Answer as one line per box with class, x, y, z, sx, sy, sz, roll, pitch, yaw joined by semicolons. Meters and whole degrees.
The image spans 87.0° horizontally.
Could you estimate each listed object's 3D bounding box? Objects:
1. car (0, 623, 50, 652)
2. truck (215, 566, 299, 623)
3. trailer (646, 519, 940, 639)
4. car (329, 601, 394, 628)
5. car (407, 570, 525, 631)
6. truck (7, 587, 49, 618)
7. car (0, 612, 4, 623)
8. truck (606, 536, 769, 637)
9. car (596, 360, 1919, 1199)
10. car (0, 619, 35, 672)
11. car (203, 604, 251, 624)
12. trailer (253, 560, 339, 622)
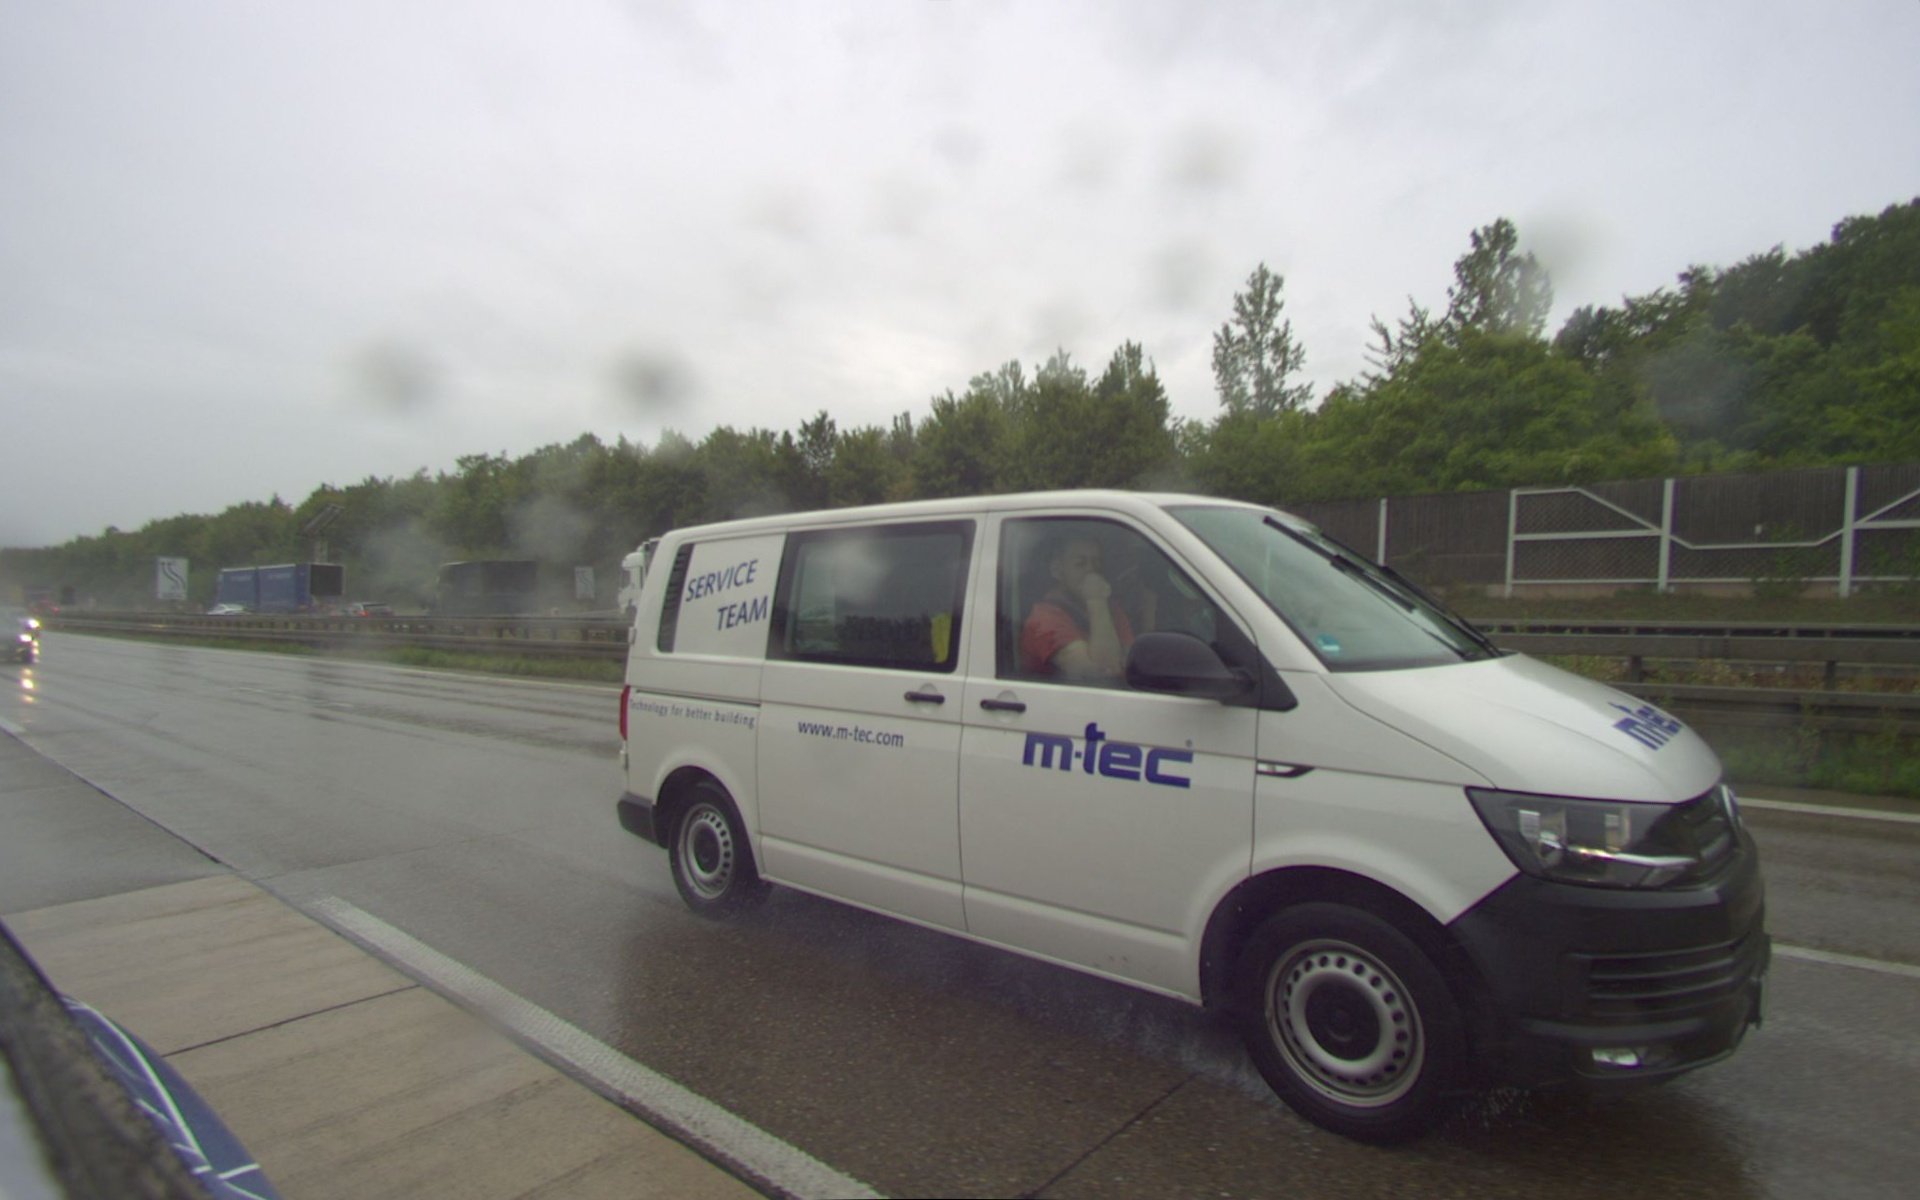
car;-47.796;1.875;51.463;4.346;1.445;1.650;-1;-2;40
truck;-54.746;-0.354;78.668;10.172;4.185;2.819;-1;1;41
trailer;-6.756;-0.612;37.821;13.773;3.830;2.738;-1;1;42
car;-32.597;0.785;55.073;4.422;1.349;1.735;-1;1;41
car;-22.728;0.042;46.355;7.442;2.586;2.160;-1;1;42
truck;-117.617;0.311;127.621;9.791;3.728;2.559;-1;1;40
car;-116.968;2.186;122.208;4.422;1.349;1.735;-1;1;41
truck;-11.446;-0.493;42.040;7.678;3.830;2.746;-1;1;42
car;0.639;0.537;4.230;5.041;1.908;1.879;-1;-1;41
car;-28.283;1.274;29.194;4.516;1.445;1.908;-1;-2;42
car;-51.689;0.988;71.327;4.422;1.349;1.735;-1;1;41
trailer;-47.675;-0.564;72.541;8.520;4.185;2.819;-1;1;41
